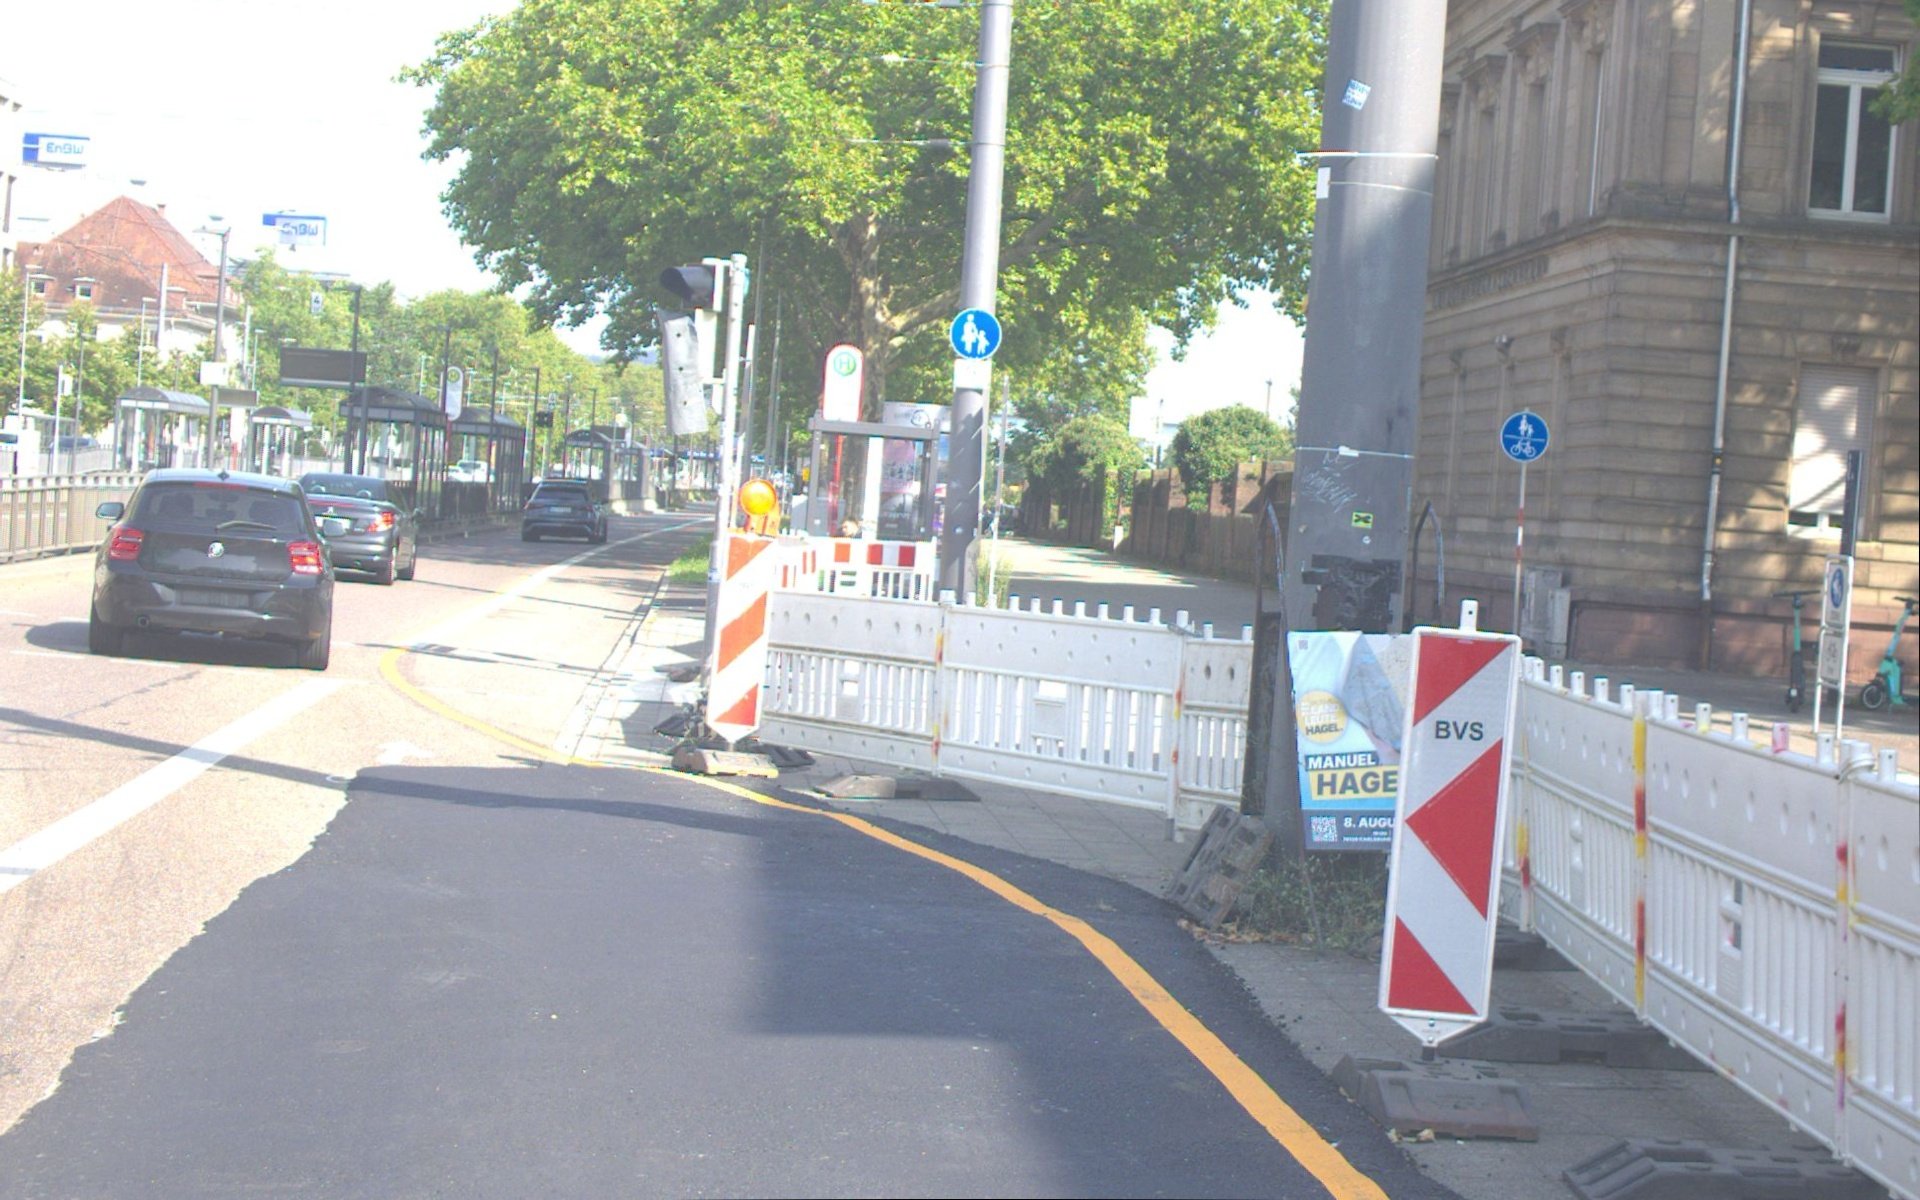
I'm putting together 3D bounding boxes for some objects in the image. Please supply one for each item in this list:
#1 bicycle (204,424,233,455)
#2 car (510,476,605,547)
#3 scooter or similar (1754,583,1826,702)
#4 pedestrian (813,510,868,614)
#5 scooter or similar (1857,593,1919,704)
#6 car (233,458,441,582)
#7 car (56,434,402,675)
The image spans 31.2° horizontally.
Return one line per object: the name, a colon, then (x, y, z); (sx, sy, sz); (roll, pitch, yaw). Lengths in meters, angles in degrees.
bicycle: (-29.258, -6.348, 135.687); (0.471, 1.143, 1.483); (4, 1, 12)
car: (-9.366, -2.085, 80.236); (1.907, 1.532, 4.001); (2, 2, -3)
scooter or similar: (8.614, 0.431, 35.713); (0.409, 1.162, 1.226); (4, 2, 2)
pedestrian: (-1.515, -0.483, 43.421); (0.608, 1.273, 0.759); (2, 2, -5)
scooter or similar: (10.089, 0.523, 36.273); (1.091, 1.128, 0.313); (3, 2, -6)
car: (-8.263, -1.049, 45.931); (1.993, 1.436, 4.000); (5, 1, -1)
car: (-5.611, -0.390, 26.885); (1.907, 1.532, 4.001); (7, 1, -3)
